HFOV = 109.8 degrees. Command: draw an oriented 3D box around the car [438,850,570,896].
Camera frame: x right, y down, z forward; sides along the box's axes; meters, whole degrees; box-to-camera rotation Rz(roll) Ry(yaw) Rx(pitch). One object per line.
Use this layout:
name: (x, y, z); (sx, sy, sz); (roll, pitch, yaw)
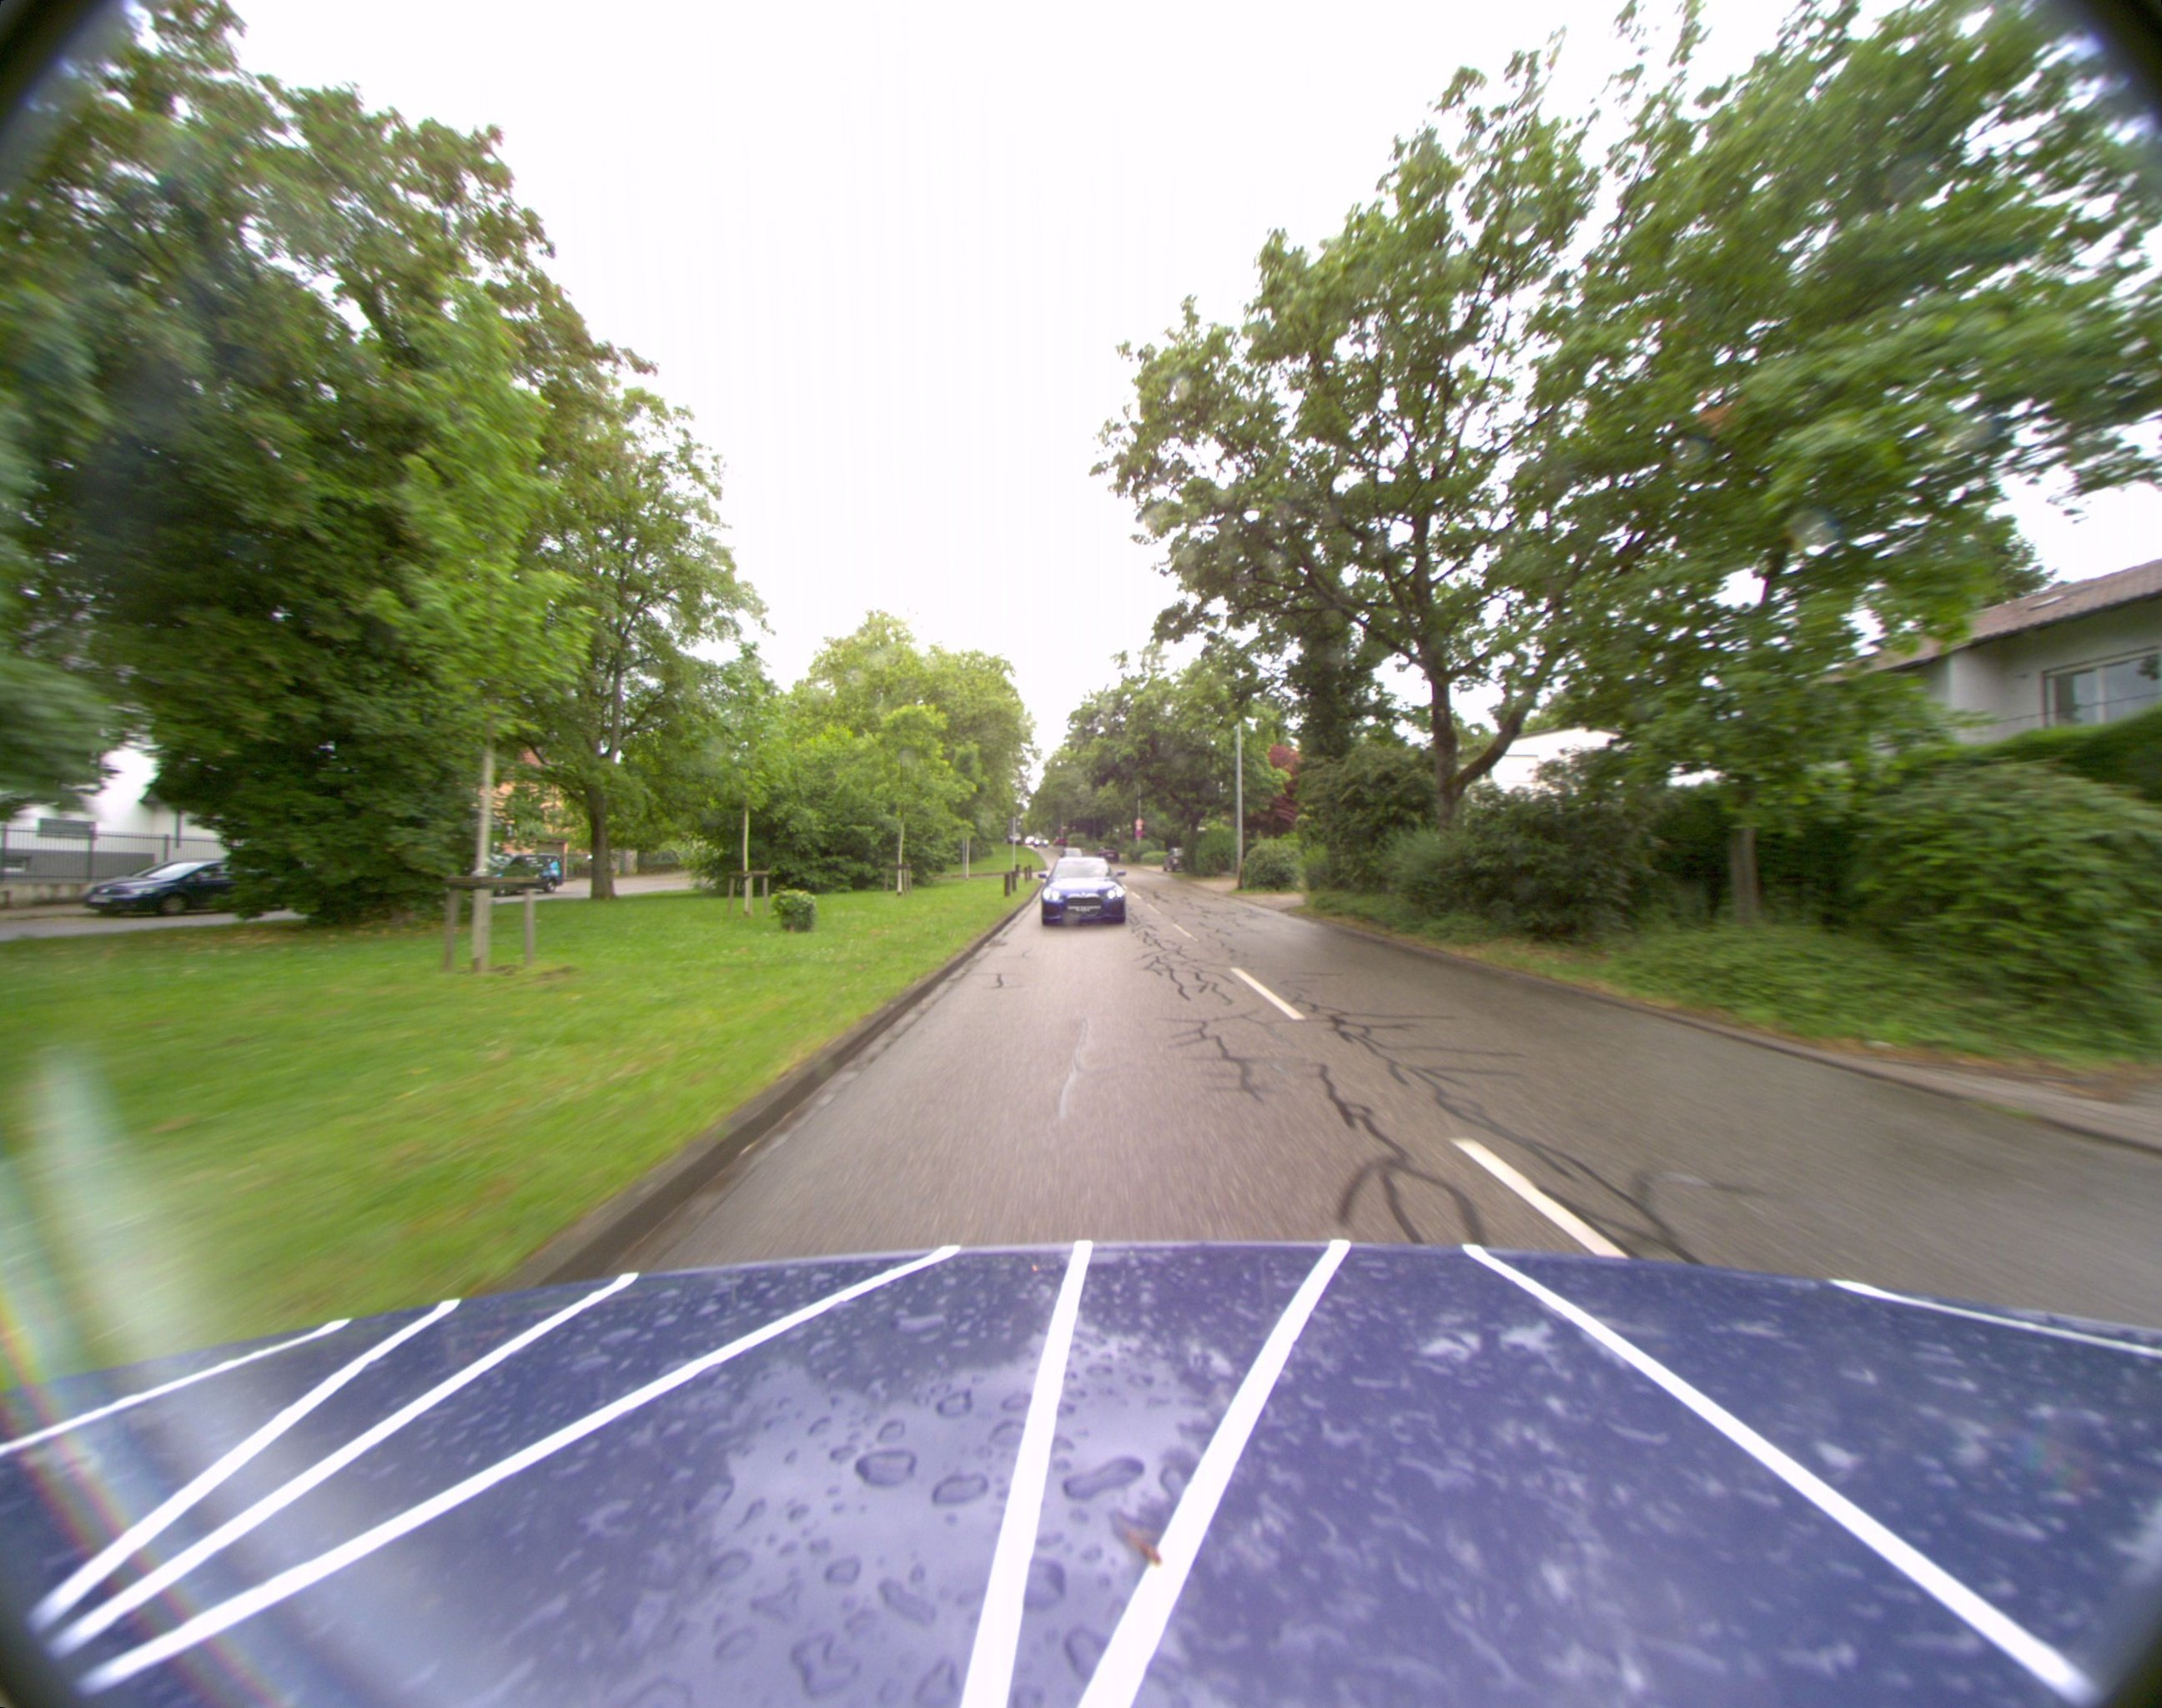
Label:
car: (-25.476, 0.770, 33.856); (2.165, 1.868, 5.068); (1, 1, -2)

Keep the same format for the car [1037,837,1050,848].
car: (-5.442, -1.601, 110.639); (1.678, 1.542, 3.832); (1, 1, 1)

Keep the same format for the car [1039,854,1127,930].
car: (0.139, 0.803, 18.100); (1.796, 1.459, 4.510); (-2, 1, 2)

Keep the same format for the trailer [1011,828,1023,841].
trailer: (-10.252, -3.090, 121.929); (1.702, 2.042, 3.947); (0, 2, -7)

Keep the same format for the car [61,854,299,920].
car: (-24.743, 0.828, 21.142); (1.907, 1.615, 4.033); (1, 1, -2)

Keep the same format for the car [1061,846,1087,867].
car: (-0.518, 0.196, 54.496); (1.796, 1.458, 4.509); (0, -1, -1)

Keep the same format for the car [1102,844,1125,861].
car: (2.948, -0.175, 69.118); (1.759, 1.356, 4.322); (1, 3, -1)

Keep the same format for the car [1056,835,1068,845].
car: (-2.910, -2.116, 115.667); (1.694, 1.389, 4.487); (0, 3, -2)

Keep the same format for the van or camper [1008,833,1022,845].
van or camper: (-10.153, -2.344, 116.997); (2.000, 1.858, 5.659); (1, 2, -7)

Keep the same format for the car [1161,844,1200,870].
car: (6.512, 0.178, 49.912); (1.668, 1.533, 4.281); (-3, 1, -4)
